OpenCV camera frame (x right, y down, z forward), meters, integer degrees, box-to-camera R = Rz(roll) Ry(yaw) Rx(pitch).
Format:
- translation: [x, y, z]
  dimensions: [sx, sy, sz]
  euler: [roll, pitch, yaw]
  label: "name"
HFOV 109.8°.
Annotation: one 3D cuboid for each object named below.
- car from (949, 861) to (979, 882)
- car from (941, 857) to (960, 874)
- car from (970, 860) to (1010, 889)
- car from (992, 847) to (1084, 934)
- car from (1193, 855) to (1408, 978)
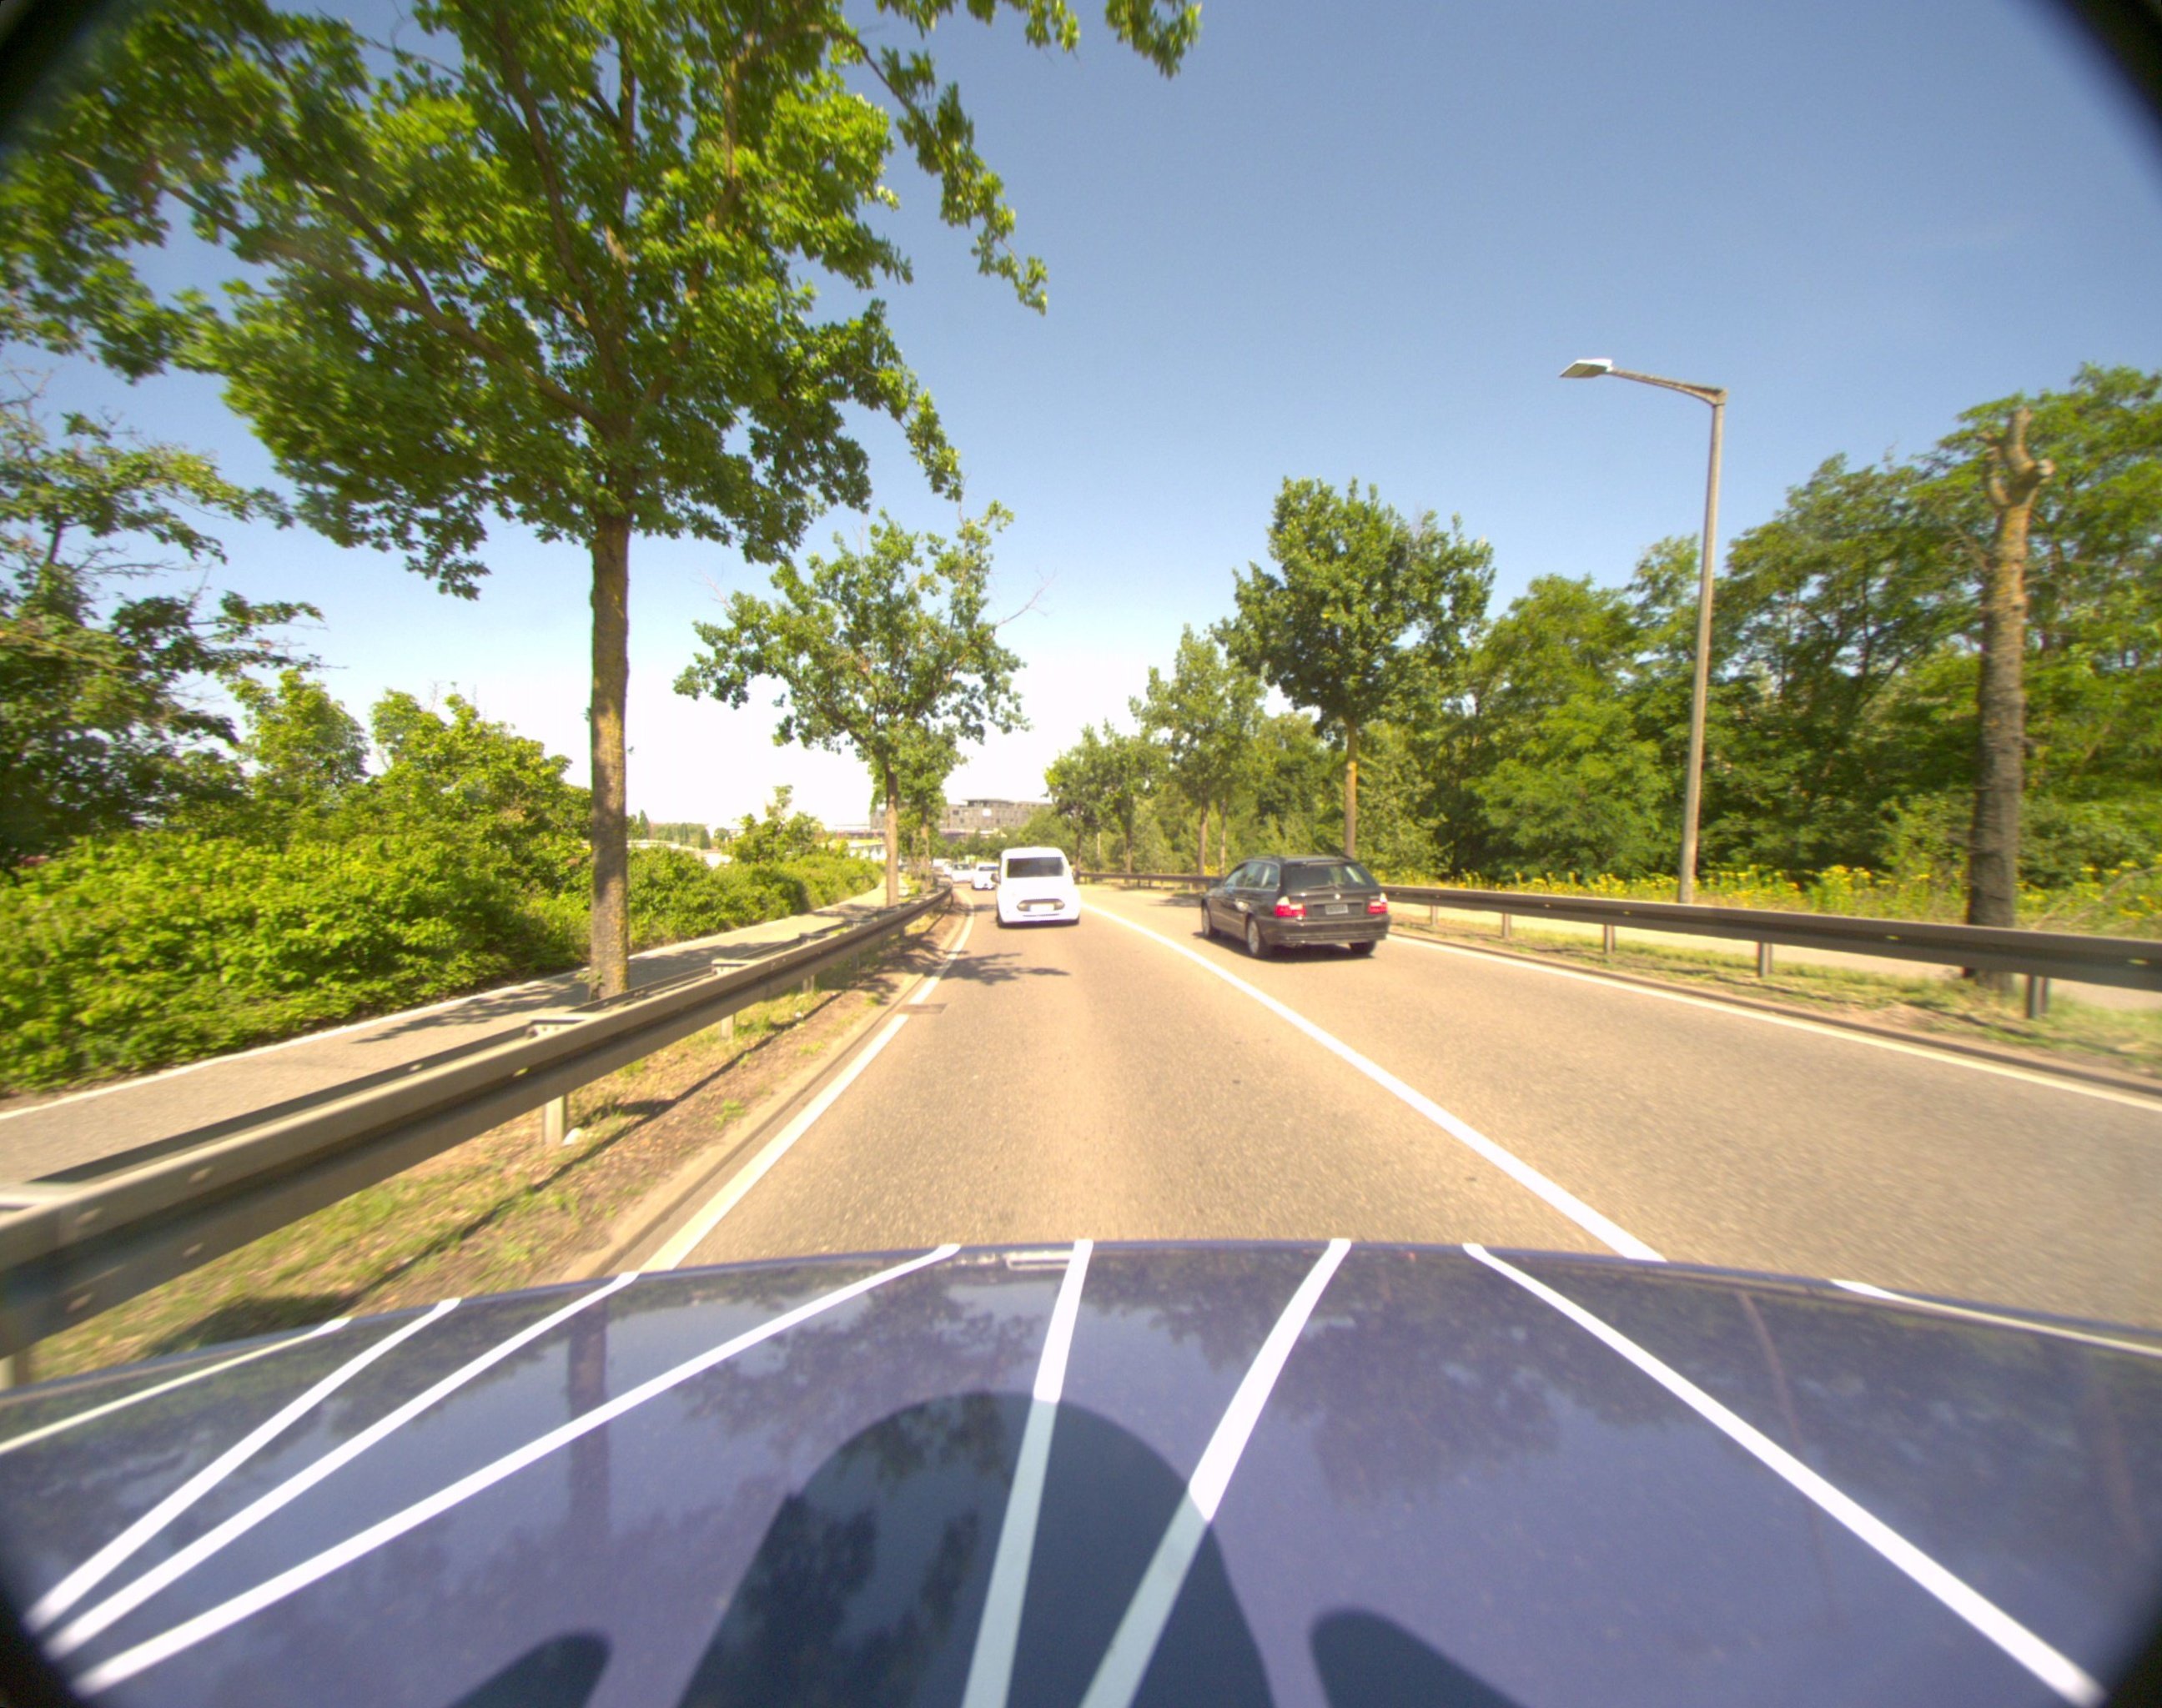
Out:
- translation: [-9.234, 1.362, 59.839]
  dimensions: [2.001, 1.575, 3.996]
  euler: [-2, 0, -13]
  label: "car"
- translation: [-14.766, 1.297, 86.163]
  dimensions: [2.000, 1.757, 3.996]
  euler: [-3, 1, -10]
  label: "car"
- translation: [-5.191, 1.128, 42.978]
  dimensions: [1.848, 1.479, 4.147]
  euler: [-2, 0, -12]
  label: "car"
- translation: [-1.077, 0.766, 18.290]
  dimensions: [1.898, 1.785, 4.445]
  euler: [-2, 0, -4]
  label: "car"
- translation: [3.066, 0.779, 11.564]
  dimensions: [1.706, 1.440, 4.118]
  euler: [-3, 1, -5]
  label: "car"
